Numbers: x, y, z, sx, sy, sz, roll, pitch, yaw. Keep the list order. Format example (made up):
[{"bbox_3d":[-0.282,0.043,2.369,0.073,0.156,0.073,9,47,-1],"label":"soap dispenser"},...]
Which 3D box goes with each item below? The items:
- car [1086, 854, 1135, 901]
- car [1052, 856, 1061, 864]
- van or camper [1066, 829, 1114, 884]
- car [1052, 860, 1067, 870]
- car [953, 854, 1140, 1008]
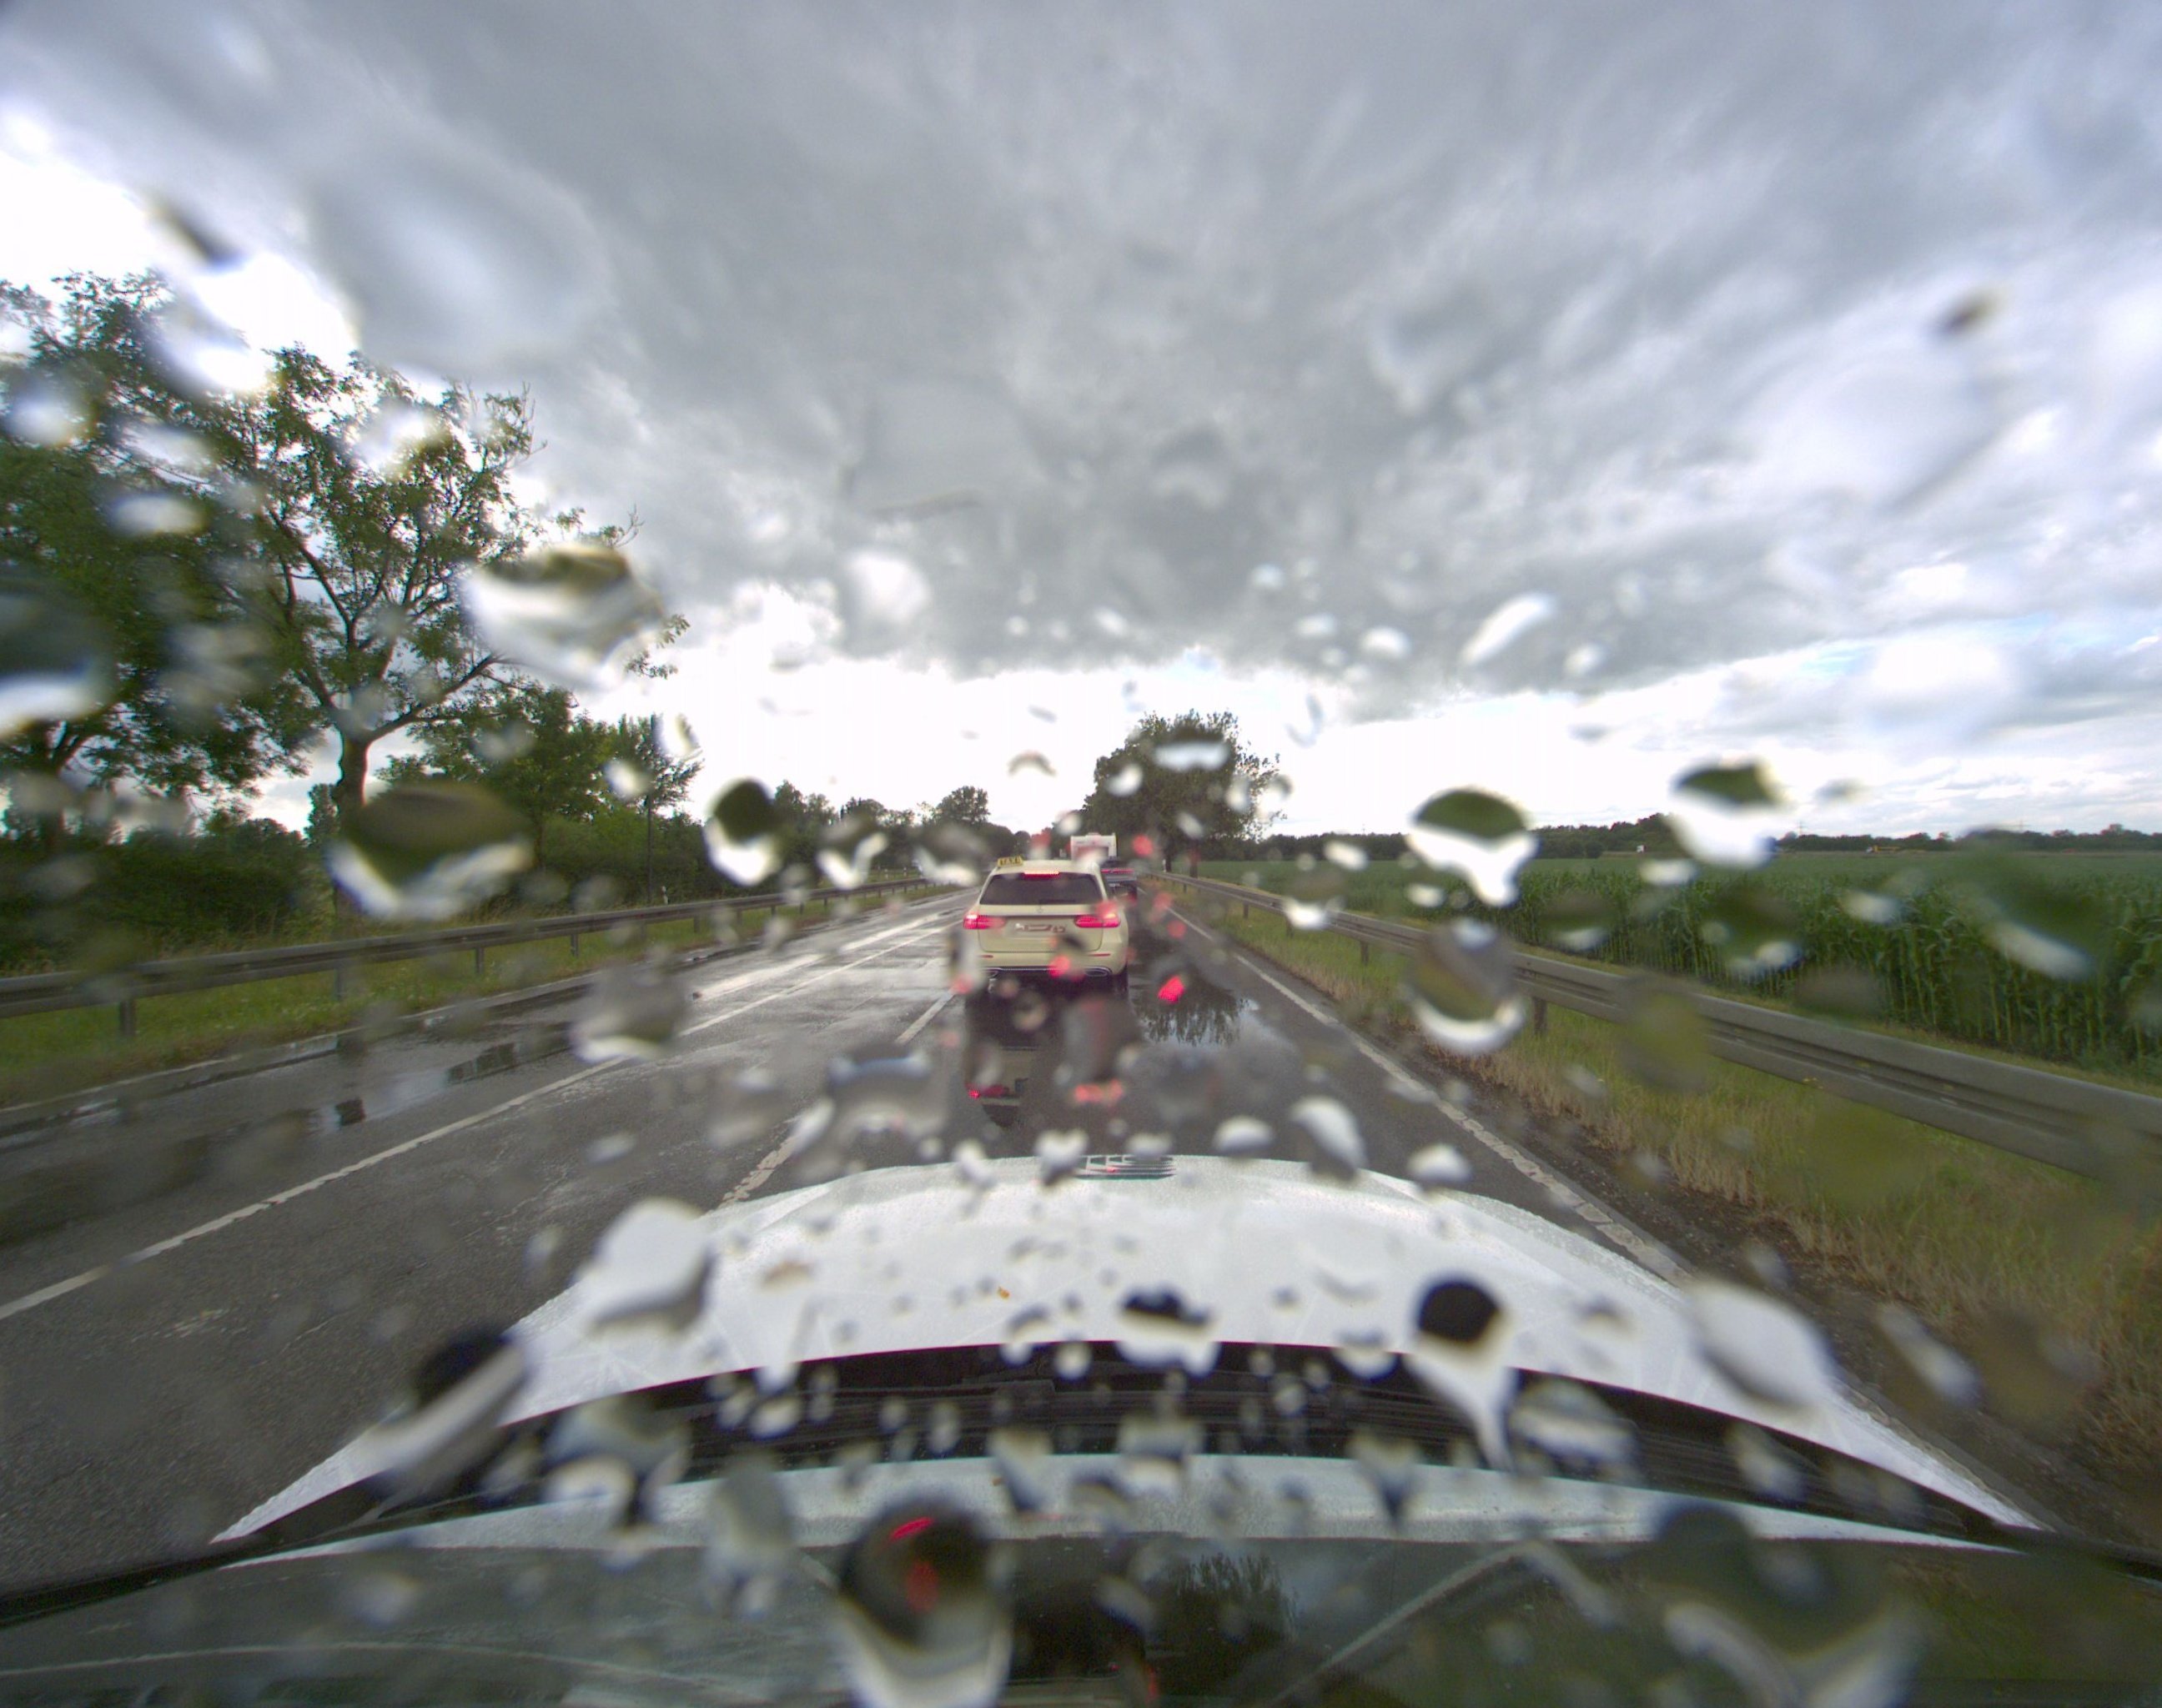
[{"bbox_3d":[1.051,0.791,29.349,1.621,1.529,3.934,-1,0,2],"label":"car"},{"bbox_3d":[-6.217,1.583,206.719,1.985,2.051,4.003,0,0,2],"label":"car"},{"bbox_3d":[0.539,0.110,43.036,2.342,2.680,5.771,-1,0,2],"label":"van or camper"},{"bbox_3d":[-2.966,1.474,112.252,1.752,1.269,4.002,-1,0,2],"label":"car"},{"bbox_3d":[-0.240,0.768,10.113,1.817,1.485,4.148,-1,0,3],"label":"car"}]
